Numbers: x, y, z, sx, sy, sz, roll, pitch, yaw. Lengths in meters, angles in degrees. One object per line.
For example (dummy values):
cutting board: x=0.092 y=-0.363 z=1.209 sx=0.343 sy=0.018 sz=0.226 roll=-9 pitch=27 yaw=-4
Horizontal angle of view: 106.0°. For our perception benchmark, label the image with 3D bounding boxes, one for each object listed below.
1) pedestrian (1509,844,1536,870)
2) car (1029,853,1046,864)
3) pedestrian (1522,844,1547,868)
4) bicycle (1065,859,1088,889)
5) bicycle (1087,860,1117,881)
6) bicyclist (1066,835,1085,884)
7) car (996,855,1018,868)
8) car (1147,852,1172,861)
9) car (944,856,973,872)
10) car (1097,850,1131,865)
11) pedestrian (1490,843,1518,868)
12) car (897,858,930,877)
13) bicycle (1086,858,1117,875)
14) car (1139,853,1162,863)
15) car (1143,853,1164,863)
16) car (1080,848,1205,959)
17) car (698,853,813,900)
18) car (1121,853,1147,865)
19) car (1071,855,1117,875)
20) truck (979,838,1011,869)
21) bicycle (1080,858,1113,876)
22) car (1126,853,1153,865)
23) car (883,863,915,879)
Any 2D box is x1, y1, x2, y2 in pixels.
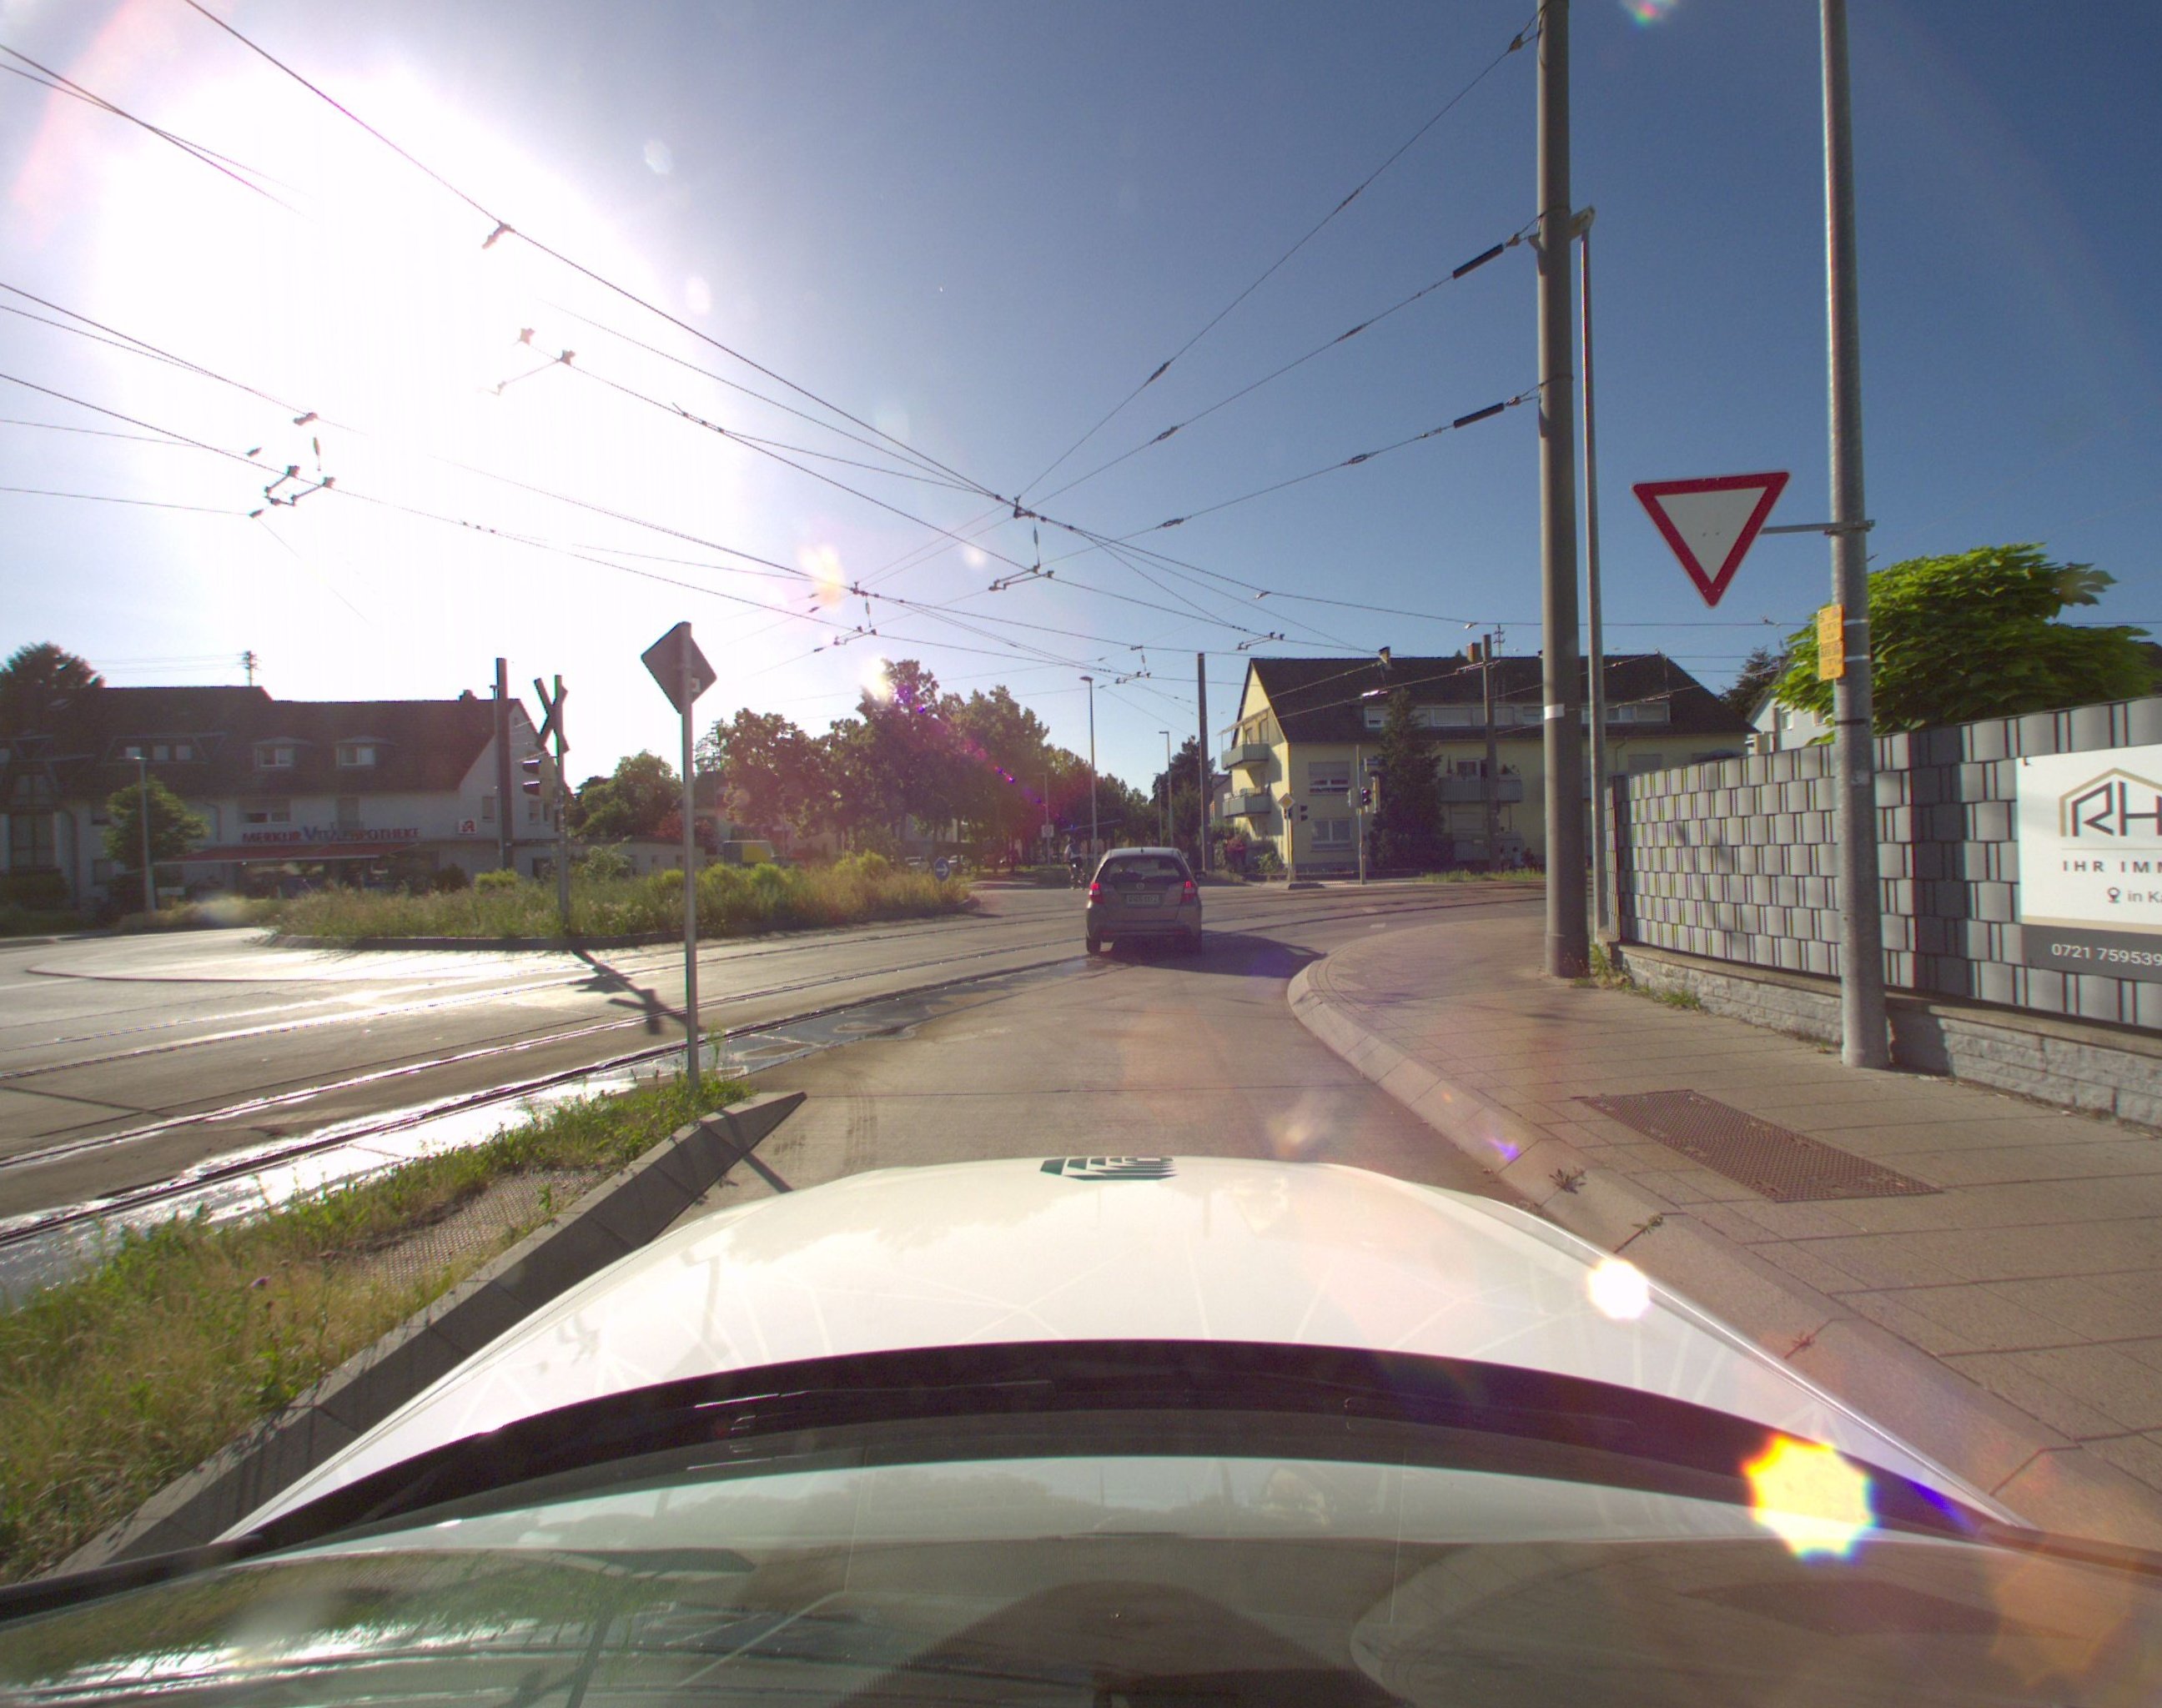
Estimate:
pedestrian: x=18.615 y=0.136 z=34.318 sx=0.629 sy=1.065 sz=0.811 roll=0 pitch=0 yaw=-36
car: x=-6.965 y=0.768 z=131.448 sx=1.982 sy=1.699 sz=4.228 roll=0 pitch=0 yaw=8
pedestrian: x=19.238 y=0.102 z=34.519 sx=0.596 sy=1.006 sz=0.718 roll=0 pitch=0 yaw=-27
bicycle: x=-0.170 y=0.729 z=29.363 sx=0.764 sy=1.037 sz=1.532 roll=-1 pitch=-2 yaw=-3
bicycle: x=1.179 y=0.925 z=45.964 sx=1.660 sy=1.208 sz=0.689 roll=0 pitch=0 yaw=-1
bicyclist: x=-0.202 y=0.204 z=29.655 sx=0.601 sy=1.714 sz=0.544 roll=-2 pitch=-4 yaw=-1
car: x=-9.210 y=0.929 z=101.217 sx=1.821 sy=1.580 sz=4.449 roll=0 pitch=0 yaw=6
car: x=11.258 y=0.320 z=117.404 sx=3.502 sy=1.279 sz=1.579 roll=0 pitch=0 yaw=3
car: x=-13.956 y=1.123 z=93.272 sx=1.983 sy=1.773 sz=5.070 roll=0 pitch=0 yaw=7
car: x=3.420 y=0.326 z=85.138 sx=3.501 sy=1.533 sz=1.579 roll=0 pitch=0 yaw=4
pedestrian: x=17.775 y=0.058 z=34.220 sx=0.685 sy=1.046 sz=0.818 roll=-1 pitch=0 yaw=-6
car: x=-15.721 y=1.281 z=76.774 sx=1.985 sy=1.699 sz=4.222 roll=0 pitch=0 yaw=3
bicycle: x=1.226 y=0.756 z=48.761 sx=1.835 sy=1.027 sz=0.689 roll=0 pitch=0 yaw=-1
car: x=10.825 y=0.666 z=127.390 sx=3.502 sy=1.533 sz=1.579 roll=0 pitch=0 yaw=3
car: x=12.213 y=0.670 z=137.978 sx=3.502 sy=1.533 sz=1.579 roll=0 pitch=0 yaw=3
car: x=0.952 y=0.661 z=13.078 sx=1.680 sy=1.491 sz=3.918 roll=-1 pitch=0 yaw=3
car: x=-15.259 y=1.042 z=38.563 sx=1.977 sy=1.982 sz=5.264 roll=-3 pitch=-2 yaw=20
car: x=6.742 y=0.587 z=103.400 sx=3.345 sy=1.533 sz=1.524 roll=0 pitch=0 yaw=3
car: x=1.036 y=0.815 z=63.070 sx=3.501 sy=1.533 sz=1.579 roll=0 pitch=0 yaw=4
truck: x=-11.585 y=-0.096 z=110.872 sx=3.056 sy=3.993 sz=8.015 roll=0 pitch=0 yaw=3
bicycle: x=0.938 y=0.789 z=49.666 sx=1.967 sy=1.027 sz=0.696 roll=0 pitch=0 yaw=-1
car: x=7.770 y=0.632 z=108.124 sx=3.464 sy=1.493 sz=1.553 roll=0 pitch=0 yaw=3
car: x=-16.079 y=1.484 z=71.969 sx=1.955 sy=1.324 sz=3.999 roll=0 pitch=0 yaw=-1
